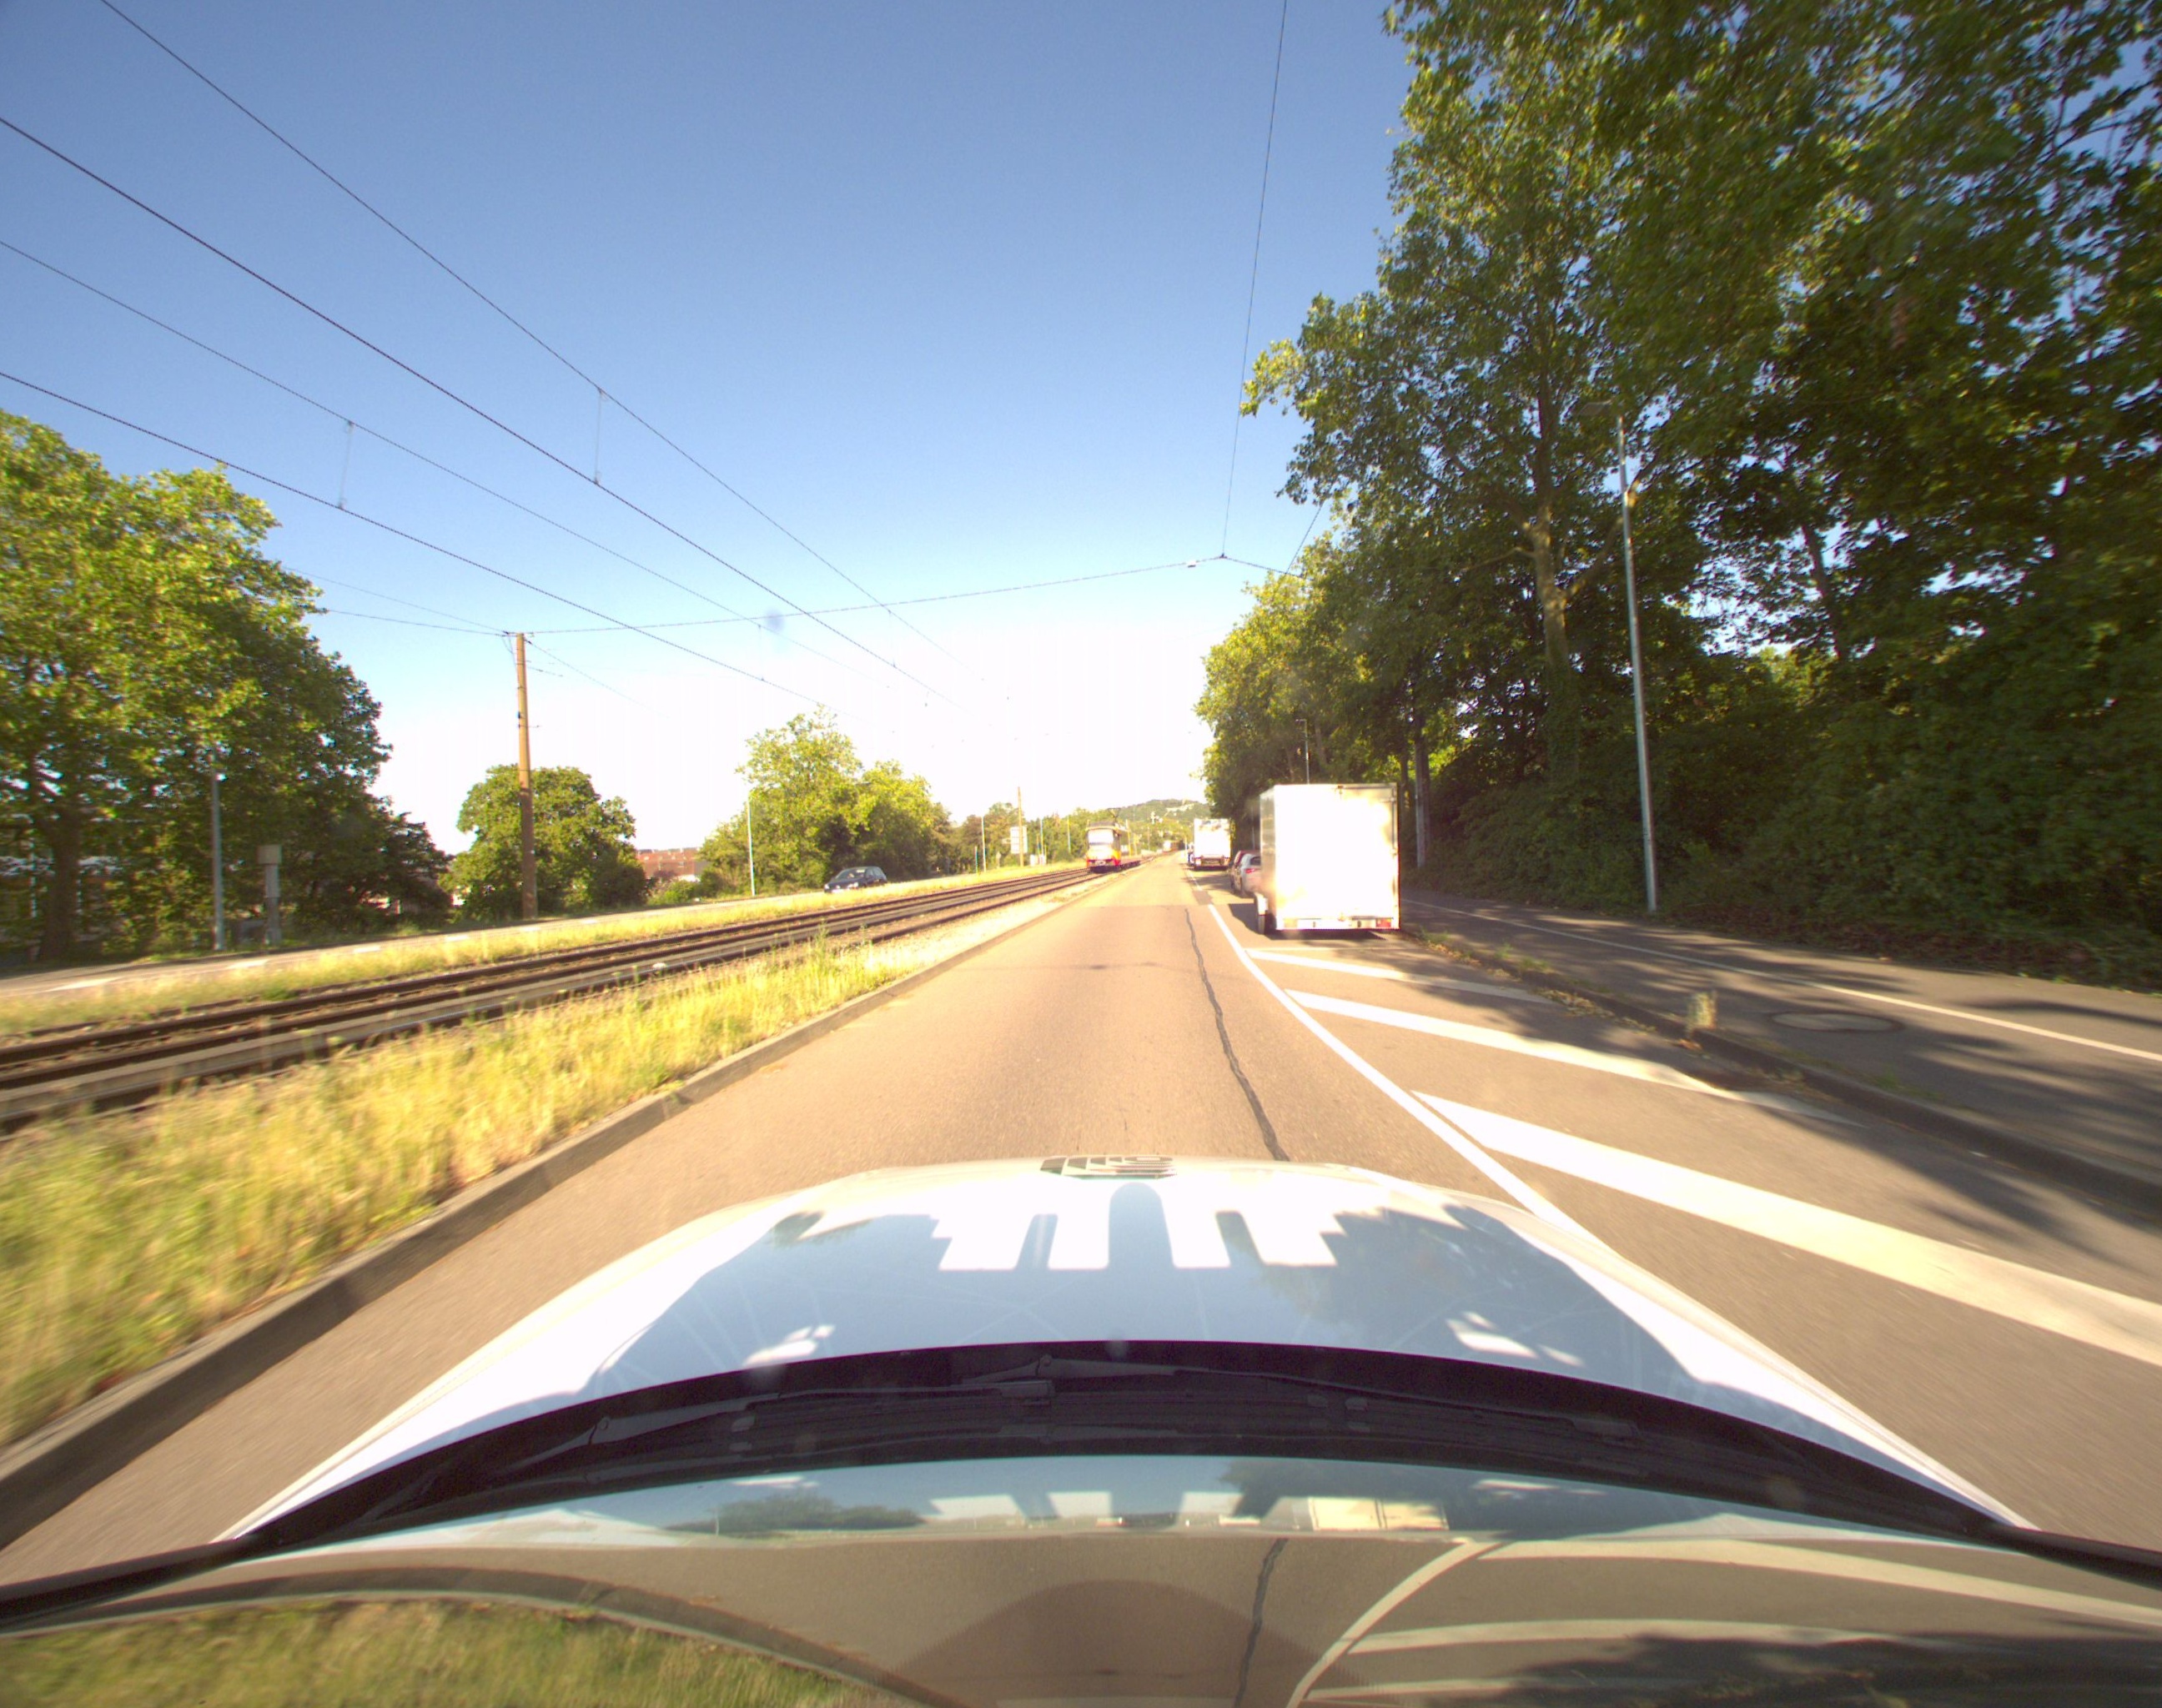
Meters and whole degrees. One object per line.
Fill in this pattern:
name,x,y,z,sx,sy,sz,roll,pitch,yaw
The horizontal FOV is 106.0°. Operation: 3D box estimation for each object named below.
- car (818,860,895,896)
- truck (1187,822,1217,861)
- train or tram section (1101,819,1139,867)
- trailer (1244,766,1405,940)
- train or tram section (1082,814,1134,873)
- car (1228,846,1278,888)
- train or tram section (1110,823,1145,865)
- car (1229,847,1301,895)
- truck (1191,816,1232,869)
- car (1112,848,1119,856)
car,-10.377,1.084,38.001,1.763,1.425,4.499,-3,0,8
truck,12.182,-1.225,82.578,2.703,3.783,9.779,0,0,7
train or tram section,3.796,-1.000,77.060,2.680,4.089,9.930,-3,0,7
trailer,4.430,-0.017,15.835,2.237,2.694,5.963,-2,0,10
train or tram section,2.383,-0.824,65.423,2.707,4.091,13.643,-3,0,7
car,6.777,0.481,32.321,1.631,1.536,3.647,0,0,7
train or tram section,5.174,-1.102,88.365,2.705,4.089,12.839,-3,0,7
car,5.972,0.518,26.817,1.800,1.457,4.172,0,0,6
truck,10.047,-0.879,63.534,2.727,3.783,10.108,0,0,7
car,9.026,-0.590,213.356,1.716,2.014,4.004,-1,0,3
